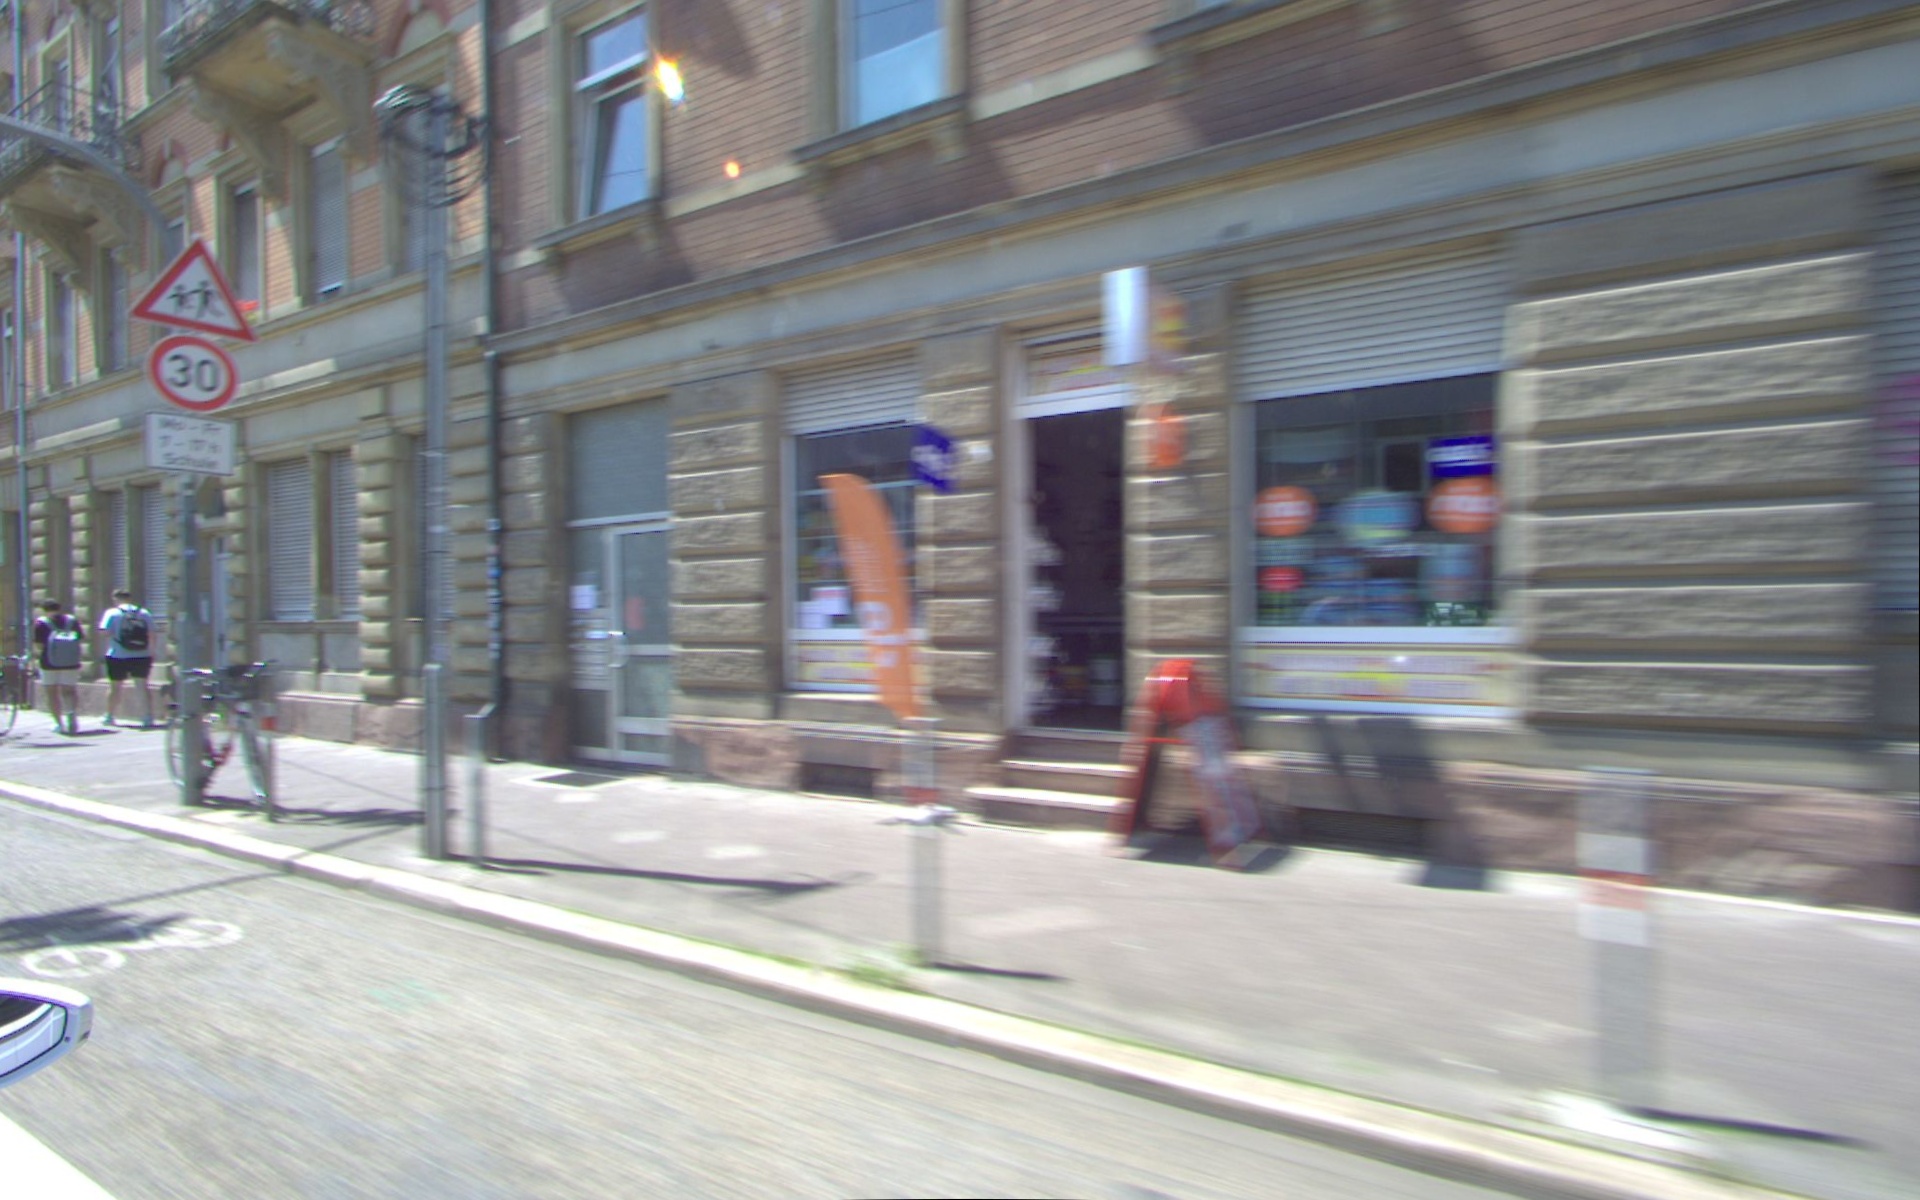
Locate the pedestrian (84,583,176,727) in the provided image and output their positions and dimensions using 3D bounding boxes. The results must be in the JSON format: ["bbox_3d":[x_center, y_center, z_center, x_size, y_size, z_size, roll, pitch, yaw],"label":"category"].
[{"bbox_3d":[-11.306,0.723,13.647,0.634,1.875,0.700,0,4,33],"label":"pedestrian"}]

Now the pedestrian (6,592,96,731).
[{"bbox_3d":[-11.820,0.783,13.025,0.634,1.742,0.718,0,0,33],"label":"pedestrian"}]

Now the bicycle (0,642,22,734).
[{"bbox_3d":[-12.246,1.120,12.315,0.493,1.145,2.232,-1,0,-29],"label":"bicycle"}]

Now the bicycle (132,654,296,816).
[{"bbox_3d":[-6.137,1.029,8.176,2.392,1.111,0.446,-1,0,38],"label":"bicycle"}]
